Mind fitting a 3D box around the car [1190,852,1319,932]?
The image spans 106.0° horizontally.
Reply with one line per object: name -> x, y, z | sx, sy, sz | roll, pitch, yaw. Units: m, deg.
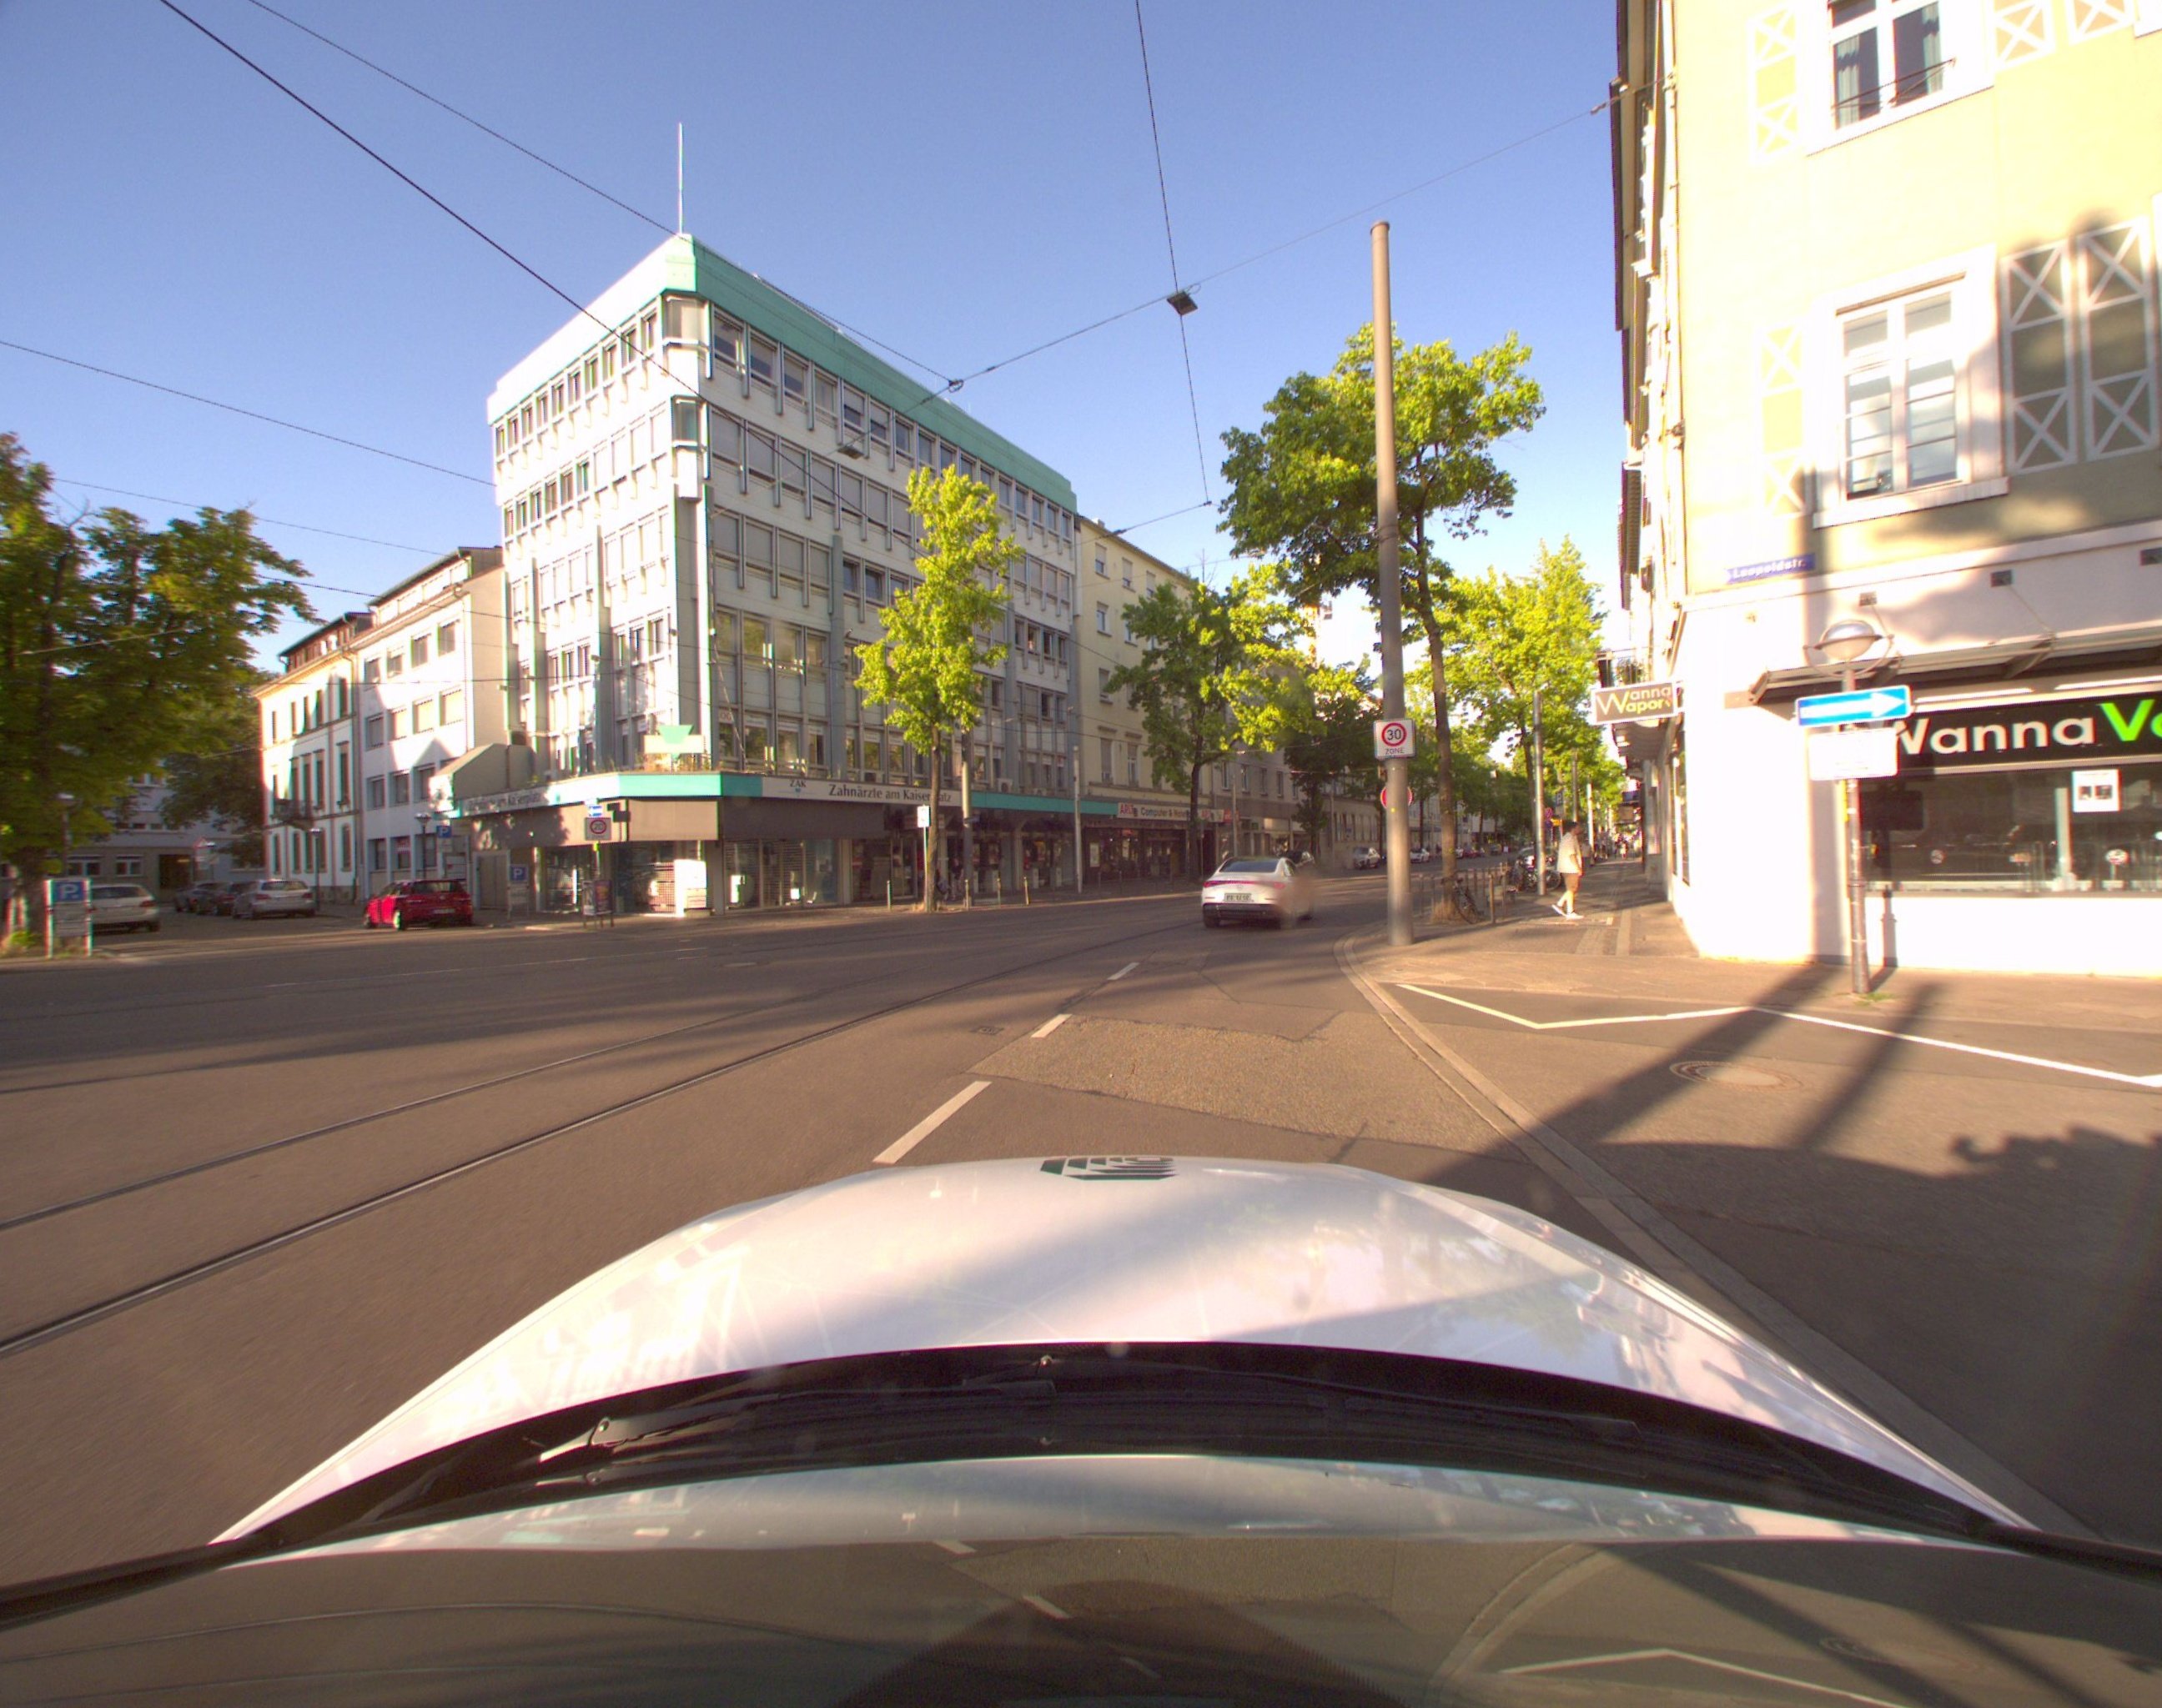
car -> 3.817, 0.737, 17.399 | 1.851, 1.469, 4.065 | -3, -1, 24

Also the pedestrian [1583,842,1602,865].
pedestrian -> 32.334, -0.022, 51.500 | 0.705, 1.387, 0.746 | -2, 0, -3

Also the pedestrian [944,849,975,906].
pedestrian -> -4.367, 0.845, 29.182 | 0.789, 2.014, 0.739 | -1, -1, 35

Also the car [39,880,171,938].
car -> -31.615, 1.744, 26.374 | 3.949, 1.684, 2.012 | -2, -1, 29

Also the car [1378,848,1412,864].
car -> 28.367, 0.151, 73.472 | 1.943, 1.412, 4.877 | -1, 0, 32

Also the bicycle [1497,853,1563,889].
bicycle -> 14.758, 0.563, 26.772 | 1.848, 1.154, 0.350 | -1, -1, 36

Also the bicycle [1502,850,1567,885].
bicycle -> 15.478, 0.461, 27.802 | 1.848, 1.154, 0.566 | -1, -1, 36

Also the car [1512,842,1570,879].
car -> 20.642, 0.272, 36.483 | 1.758, 1.440, 4.451 | -5, -3, 35

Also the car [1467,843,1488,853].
car -> 53.600, -0.867, 110.054 | 1.974, 1.292, 4.026 | -1, 0, 34

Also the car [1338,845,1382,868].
car -> 21.805, 0.163, 63.522 | 1.943, 1.639, 4.843 | 2, 2, 35

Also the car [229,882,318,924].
car -> -32.505, 1.923, 32.756 | 3.948, 1.530, 2.013 | -2, -1, 37

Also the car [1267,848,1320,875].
car -> 13.595, 0.479, 51.985 | 1.943, 1.640, 4.026 | -1, 0, 35

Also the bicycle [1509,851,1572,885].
bicycle -> 16.259, 0.496, 28.834 | 1.848, 1.154, 0.566 | -1, -1, 36

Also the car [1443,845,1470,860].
car -> 43.997, -0.182, 95.460 | 1.943, 1.692, 5.045 | -1, 0, 35

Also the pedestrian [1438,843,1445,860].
pedestrian -> 43.080, -0.296, 97.346 | 0.701, 2.004, 0.679 | -2, 0, 26

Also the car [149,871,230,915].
car -> -43.542, 1.882, 39.759 | 3.948, 2.014, 2.013 | -2, -1, 32

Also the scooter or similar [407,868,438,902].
scooter or similar -> -28.081, 1.306, 34.751 | 0.758, 1.398, 1.909 | -1, 0, -30

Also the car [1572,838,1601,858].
car -> 40.082, -0.457, 64.644 | 1.797, 1.486, 4.025 | -1, 0, 29

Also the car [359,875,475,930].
car -> -20.016, 1.389, 24.506 | 3.949, 1.485, 2.040 | -1, -1, 41

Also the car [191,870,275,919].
car -> -37.907, 1.781, 36.385 | 3.948, 2.014, 2.013 | -2, -1, 35

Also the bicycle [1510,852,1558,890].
bicycle -> 14.350, 0.526, 25.860 | 0.459, 1.154, 1.678 | -1, -1, -5

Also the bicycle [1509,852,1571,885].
bicycle -> 16.545, 0.515, 29.374 | 1.848, 1.154, 0.566 | -1, -1, 36

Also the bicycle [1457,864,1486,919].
bicycle -> 8.119, 0.751, 16.918 | 0.351, 1.076, 1.710 | -1, -1, 31

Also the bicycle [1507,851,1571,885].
bicycle -> 15.914, 0.488, 28.319 | 1.848, 1.154, 0.566 | -1, -1, 36

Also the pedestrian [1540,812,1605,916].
pedestrian -> 9.799, 0.199, 16.282 | 0.838, 2.014, 0.846 | -1, -1, 11

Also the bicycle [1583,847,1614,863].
bicycle -> 38.253, 0.096, 60.219 | 1.838, 1.074, 0.716 | -3, -1, 25

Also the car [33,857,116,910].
car -> -40.371, 1.153, 32.729 | 3.948, 2.014, 2.013 | -2, -1, 40

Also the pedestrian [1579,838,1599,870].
pedestrian -> 27.027, -0.007, 43.329 | 0.795, 1.643, 0.760 | -3, -1, 35

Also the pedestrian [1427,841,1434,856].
pedestrian -> 42.074, -0.673, 98.091 | 0.700, 1.806, 0.680 | -2, 0, 29

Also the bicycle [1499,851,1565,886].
bicycle -> 15.054, 0.482, 27.223 | 1.848, 1.154, 0.566 | -1, -1, 36

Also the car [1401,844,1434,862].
car -> 32.978, -0.120, 79.739 | 1.928, 1.640, 4.940 | -1, 0, 36

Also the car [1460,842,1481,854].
car -> 49.292, -0.749, 103.122 | 1.672, 1.499, 4.261 | -1, 0, 35

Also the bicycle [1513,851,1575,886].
bicycle -> 16.973, 0.531, 29.889 | 1.848, 1.155, 0.566 | -5, -3, 36

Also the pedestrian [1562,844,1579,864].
pedestrian -> 31.453, -0.016, 52.330 | 0.809, 1.265, 0.590 | -2, -1, 40

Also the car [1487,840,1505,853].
car -> 61.795, -1.117, 121.375 | 1.538, 1.796, 3.186 | -2, 0, 43

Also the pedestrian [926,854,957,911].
pedestrian -> -5.063, 1.024, 29.587 | 0.789, 2.014, 0.739 | -1, -1, 35
